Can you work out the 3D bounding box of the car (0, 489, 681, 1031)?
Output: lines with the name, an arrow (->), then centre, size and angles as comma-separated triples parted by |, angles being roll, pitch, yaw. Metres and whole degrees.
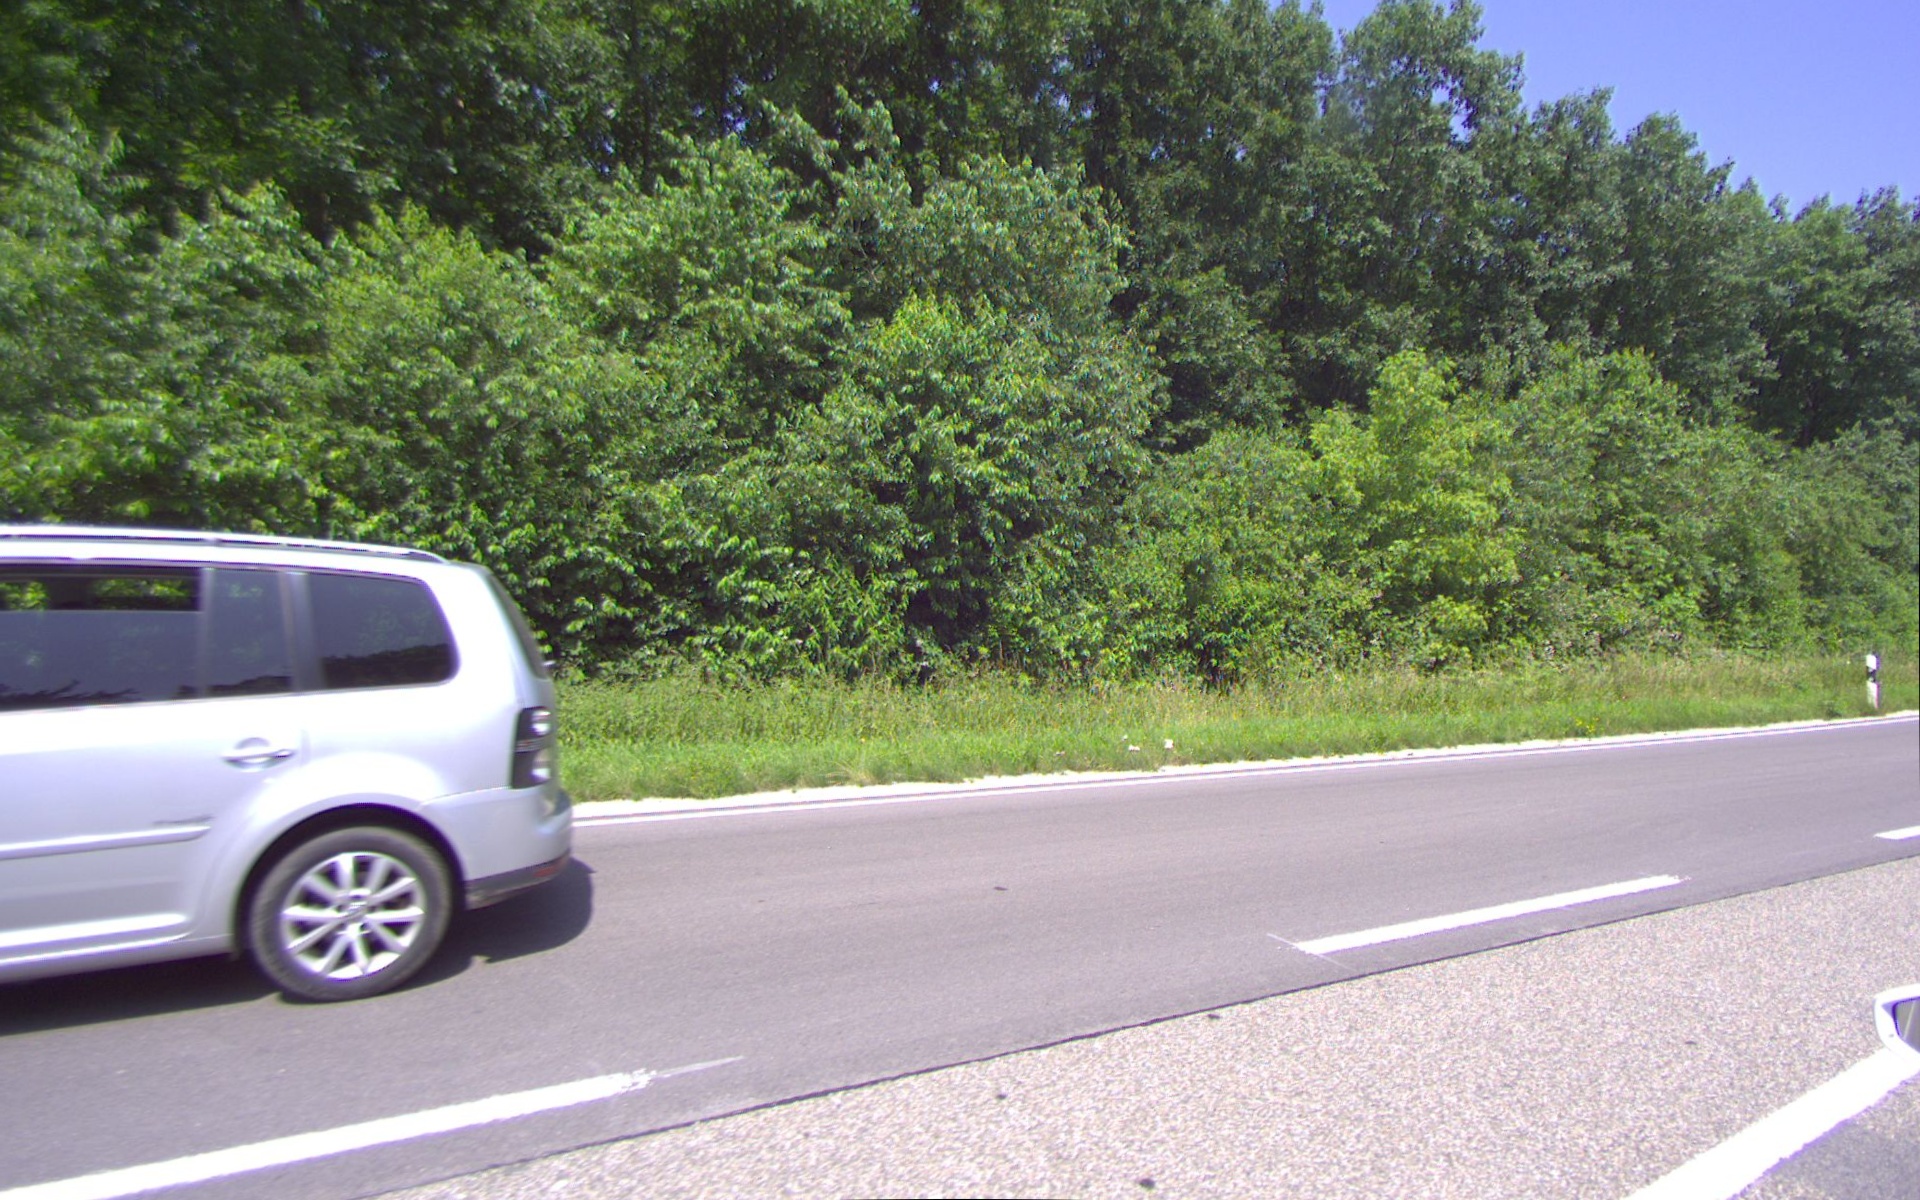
car -> -3.398, 0.479, 3.833 | 4.163, 1.658, 1.793 | 2, 0, -31
